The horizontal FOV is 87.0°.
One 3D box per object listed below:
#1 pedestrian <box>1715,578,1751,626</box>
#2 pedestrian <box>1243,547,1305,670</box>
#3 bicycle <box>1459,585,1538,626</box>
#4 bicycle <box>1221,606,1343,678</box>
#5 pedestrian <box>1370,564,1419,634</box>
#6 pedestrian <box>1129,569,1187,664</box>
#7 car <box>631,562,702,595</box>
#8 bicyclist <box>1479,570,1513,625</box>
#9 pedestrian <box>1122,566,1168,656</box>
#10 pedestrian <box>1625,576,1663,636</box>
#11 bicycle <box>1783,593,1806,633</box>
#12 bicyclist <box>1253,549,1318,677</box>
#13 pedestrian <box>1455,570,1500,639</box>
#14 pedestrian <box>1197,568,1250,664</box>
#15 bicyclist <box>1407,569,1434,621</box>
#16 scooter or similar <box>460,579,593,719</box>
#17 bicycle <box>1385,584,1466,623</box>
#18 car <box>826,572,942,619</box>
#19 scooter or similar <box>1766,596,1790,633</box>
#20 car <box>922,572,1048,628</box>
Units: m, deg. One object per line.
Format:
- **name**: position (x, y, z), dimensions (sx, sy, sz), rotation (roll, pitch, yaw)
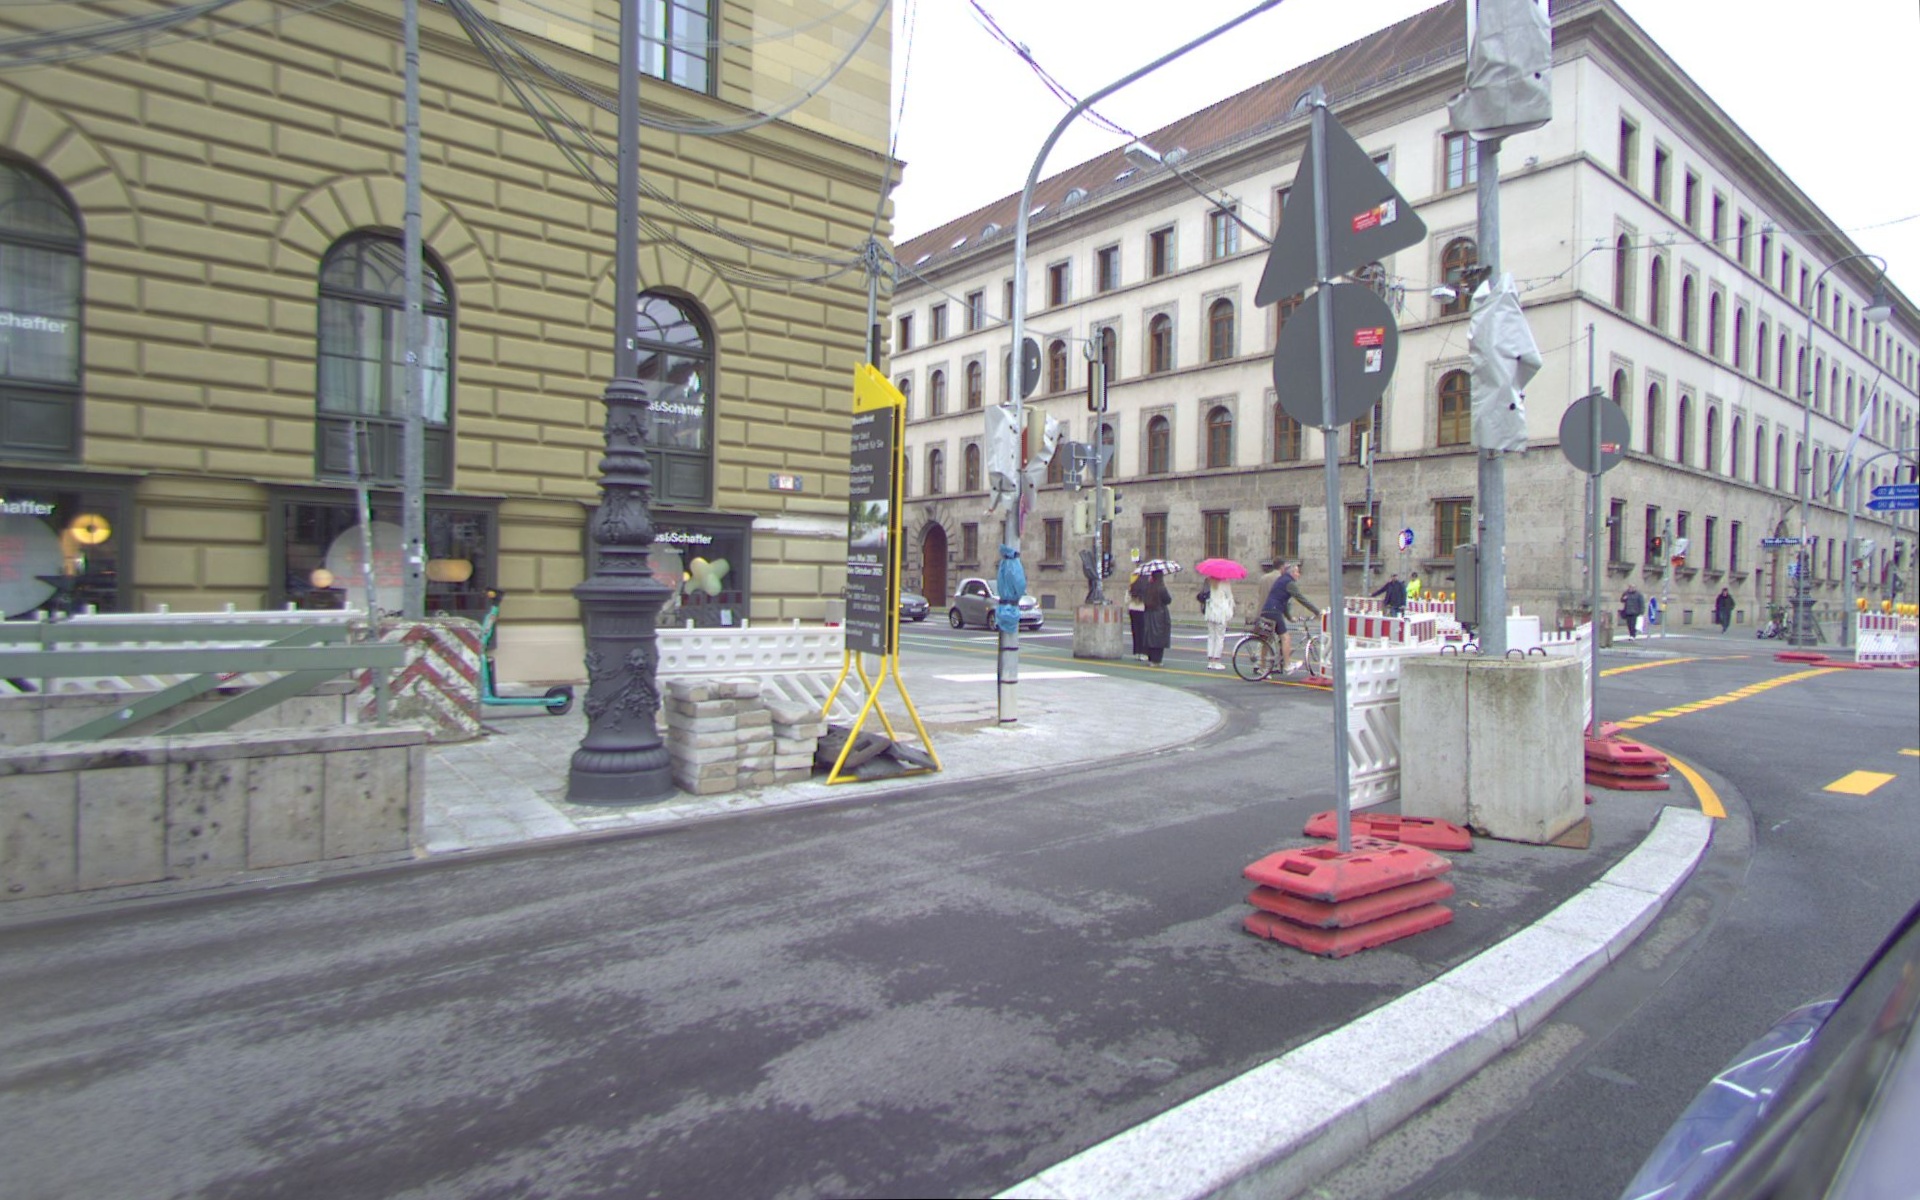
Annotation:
- **pedestrian**: position (27.939, 0.079, 36.581), dimensions (0.713, 1.674, 0.739), rotation (0, 4, -36)
- **pedestrian**: position (4.992, 0.117, 16.107), dimensions (0.691, 1.908, 0.641), rotation (-1, 2, -33)
- **bicycle**: position (17.726, 0.159, 33.391), dimensions (0.774, 1.258, 2.200), rotation (-1, 2, -33)
- **bicycle**: position (4.788, 0.612, 15.120), dimensions (1.627, 1.024, 0.586), rotation (0, 1, 5)
- **pedestrian**: position (11.155, -0.050, 25.986), dimensions (1.039, 1.764, 0.506), rotation (1, 1, 43)
- **pedestrian**: position (3.403, 0.256, 17.401), dimensions (0.691, 1.586, 0.682), rotation (-1, 2, -36)
- **car**: position (-14.848, -1.110, 51.020), dimensions (1.964, 1.577, 4.385), rotation (0, 2, -38)
- **bicyclist**: position (17.706, -0.088, 33.416), dimensions (0.785, 1.798, 0.689), rotation (-1, 2, -34)
- **pedestrian**: position (3.433, 0.184, 18.774), dimensions (0.523, 1.640, 0.674), rotation (-1, 2, -36)
- **pedestrian**: position (19.849, 0.159, 29.372), dimensions (0.736, 1.674, 0.716), rotation (5, 4, 39)
- **bicycle**: position (28.160, 0.427, 34.135), dimensions (1.957, 1.258, 0.380), rotation (-2, 2, -44)
- **bicyclist**: position (4.849, 0.183, 15.105), dimensions (0.785, 1.877, 0.567), rotation (0, 1, 4)
- **pedestrian**: position (13.665, 0.102, 26.736), dimensions (0.830, 1.793, 0.740), rotation (-1, 2, -32)
- **pedestrian**: position (4.436, 0.248, 17.027), dimensions (0.691, 1.586, 0.541), rotation (-1, 2, -36)
- **bicyclist**: position (16.106, -0.195, 35.396), dimensions (0.686, 1.770, 0.789), rotation (1, 2, 41)
- **scooter or similar**: position (-4.138, 0.436, 9.691), dimensions (1.119, 1.265, 0.351), rotation (-1, 2, -35)
- **bicycle**: position (16.222, 0.096, 35.299), dimensions (2.438, 1.258, 0.778), rotation (2, 2, 41)
- **car**: position (-2.673, -0.217, 34.860), dimensions (1.889, 1.459, 4.303), rotation (-2, 3, -38)
- **scooter or similar**: position (27.742, 0.477, 34.304), dimensions (1.957, 1.158, 0.381), rotation (-2, 2, -44)
- **car**: position (0.669, -0.052, 30.101), dimensions (1.605, 1.522, 3.997), rotation (-1, 2, -38)
